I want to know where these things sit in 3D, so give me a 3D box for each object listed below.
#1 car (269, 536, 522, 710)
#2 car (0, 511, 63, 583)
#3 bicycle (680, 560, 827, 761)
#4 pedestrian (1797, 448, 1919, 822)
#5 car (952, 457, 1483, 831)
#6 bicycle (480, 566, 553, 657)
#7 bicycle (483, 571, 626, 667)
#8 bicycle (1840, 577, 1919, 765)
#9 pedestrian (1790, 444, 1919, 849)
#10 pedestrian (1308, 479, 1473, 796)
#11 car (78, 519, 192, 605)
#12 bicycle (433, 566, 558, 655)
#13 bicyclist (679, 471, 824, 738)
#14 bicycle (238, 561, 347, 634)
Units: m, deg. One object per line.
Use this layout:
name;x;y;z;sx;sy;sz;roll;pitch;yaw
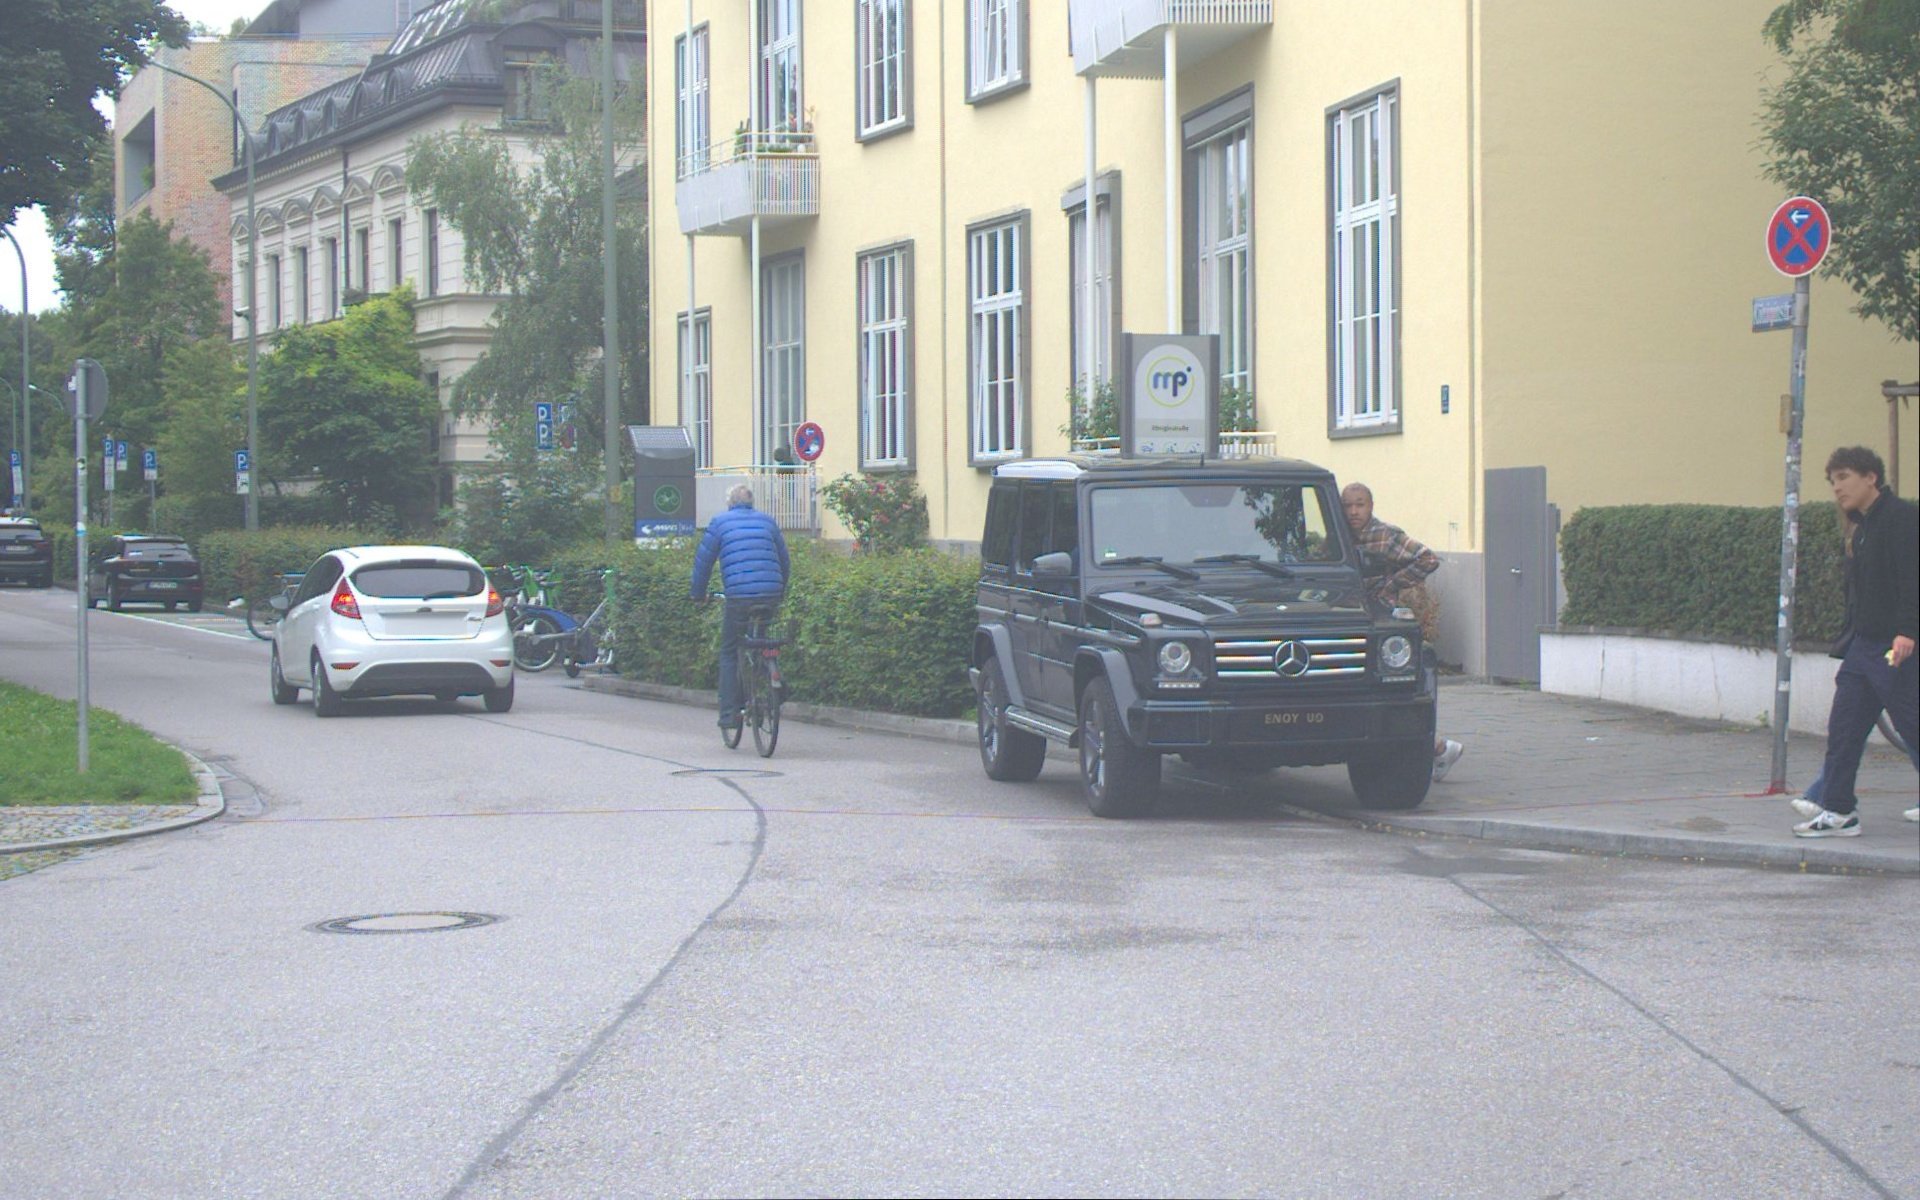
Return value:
car;-5.061;0.153;30.474;1.747;1.401;3.728;-1;2;-16
car;-22.877;-1.283;82.988;1.792;1.674;4.001;-1;2;-23
bicycle;-1.431;0.379;23.455;0.921;1.248;2.322;-1;2;-5
pedestrian;4.453;0.151;16.369;0.827;1.740;0.740;0;2;20
car;1.331;0.159;19.906;1.873;1.881;4.620;-1;2;-11
bicycle;-5.231;0.124;40.616;0.366;1.011;1.537;-1;2;11
bicycle;-4.572;0.204;38.801;1.532;1.011;0.367;-2;2;-23
bicycle;6.040;0.394;19.614;0.527;1.081;1.949;-1;0;-45
pedestrian;4.300;0.200;15.629;0.990;1.803;0.659;-1;1;15
pedestrian;2.446;0.198;19.632;0.848;1.751;0.953;-1;2;4
car;-15.576;-0.743;64.816;1.646;1.553;3.560;-1;2;-20
bicycle;-5.623;0.122;41.705;1.533;1.011;0.367;-3;2;-42
bicyclist;-1.434;0.010;23.436;0.914;1.758;1.215;-1;2;-6
bicycle;-9.878;-0.045;50.877;1.533;1.011;0.409;-3;2;-38
